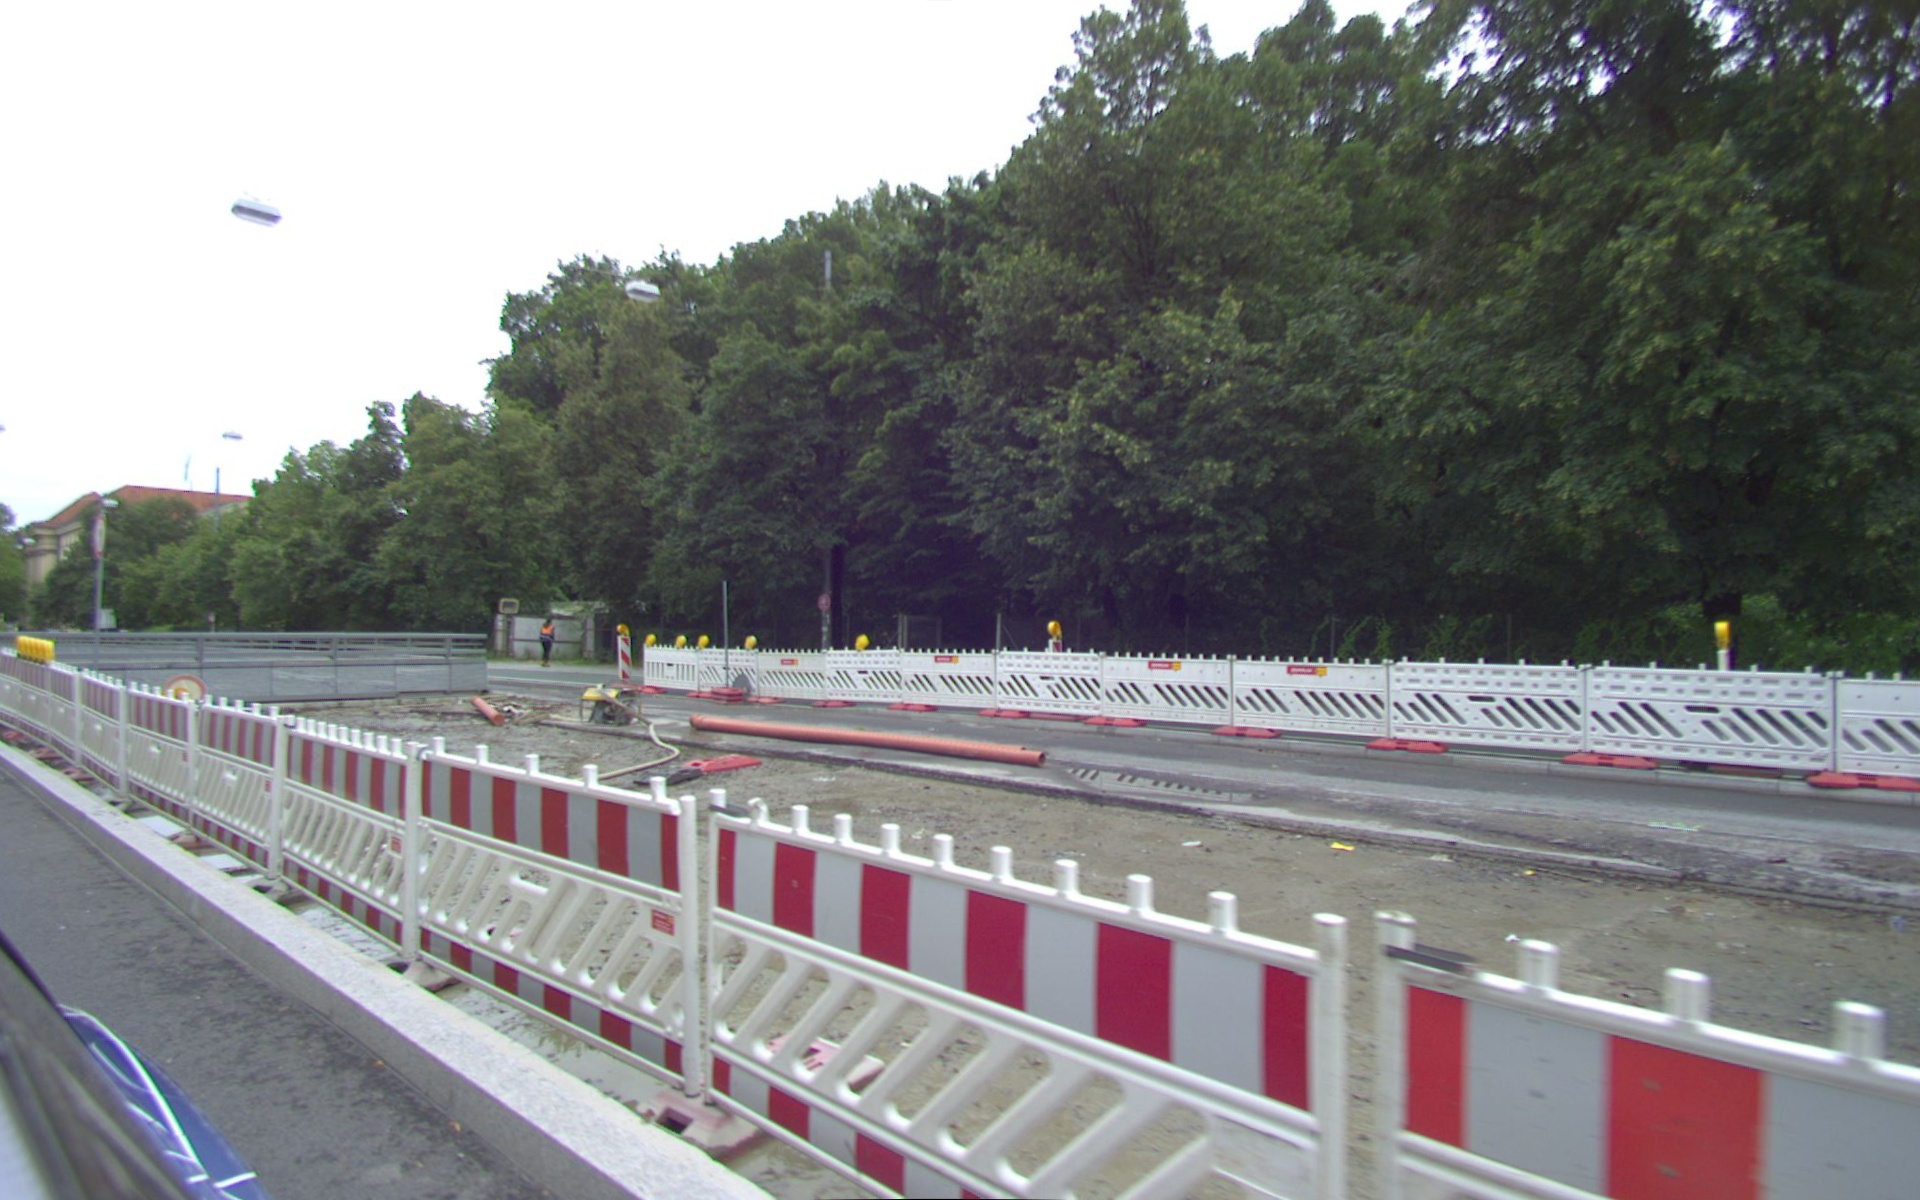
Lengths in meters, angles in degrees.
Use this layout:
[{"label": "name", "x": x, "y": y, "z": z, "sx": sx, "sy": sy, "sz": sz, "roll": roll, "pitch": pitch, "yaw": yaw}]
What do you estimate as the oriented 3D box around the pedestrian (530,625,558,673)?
[{"label": "pedestrian", "x": -14.450, "y": 1.687, "z": 35.177, "sx": 0.698, "sy": 1.653, "sz": 0.656, "roll": -2, "pitch": -2, "yaw": 42}]
